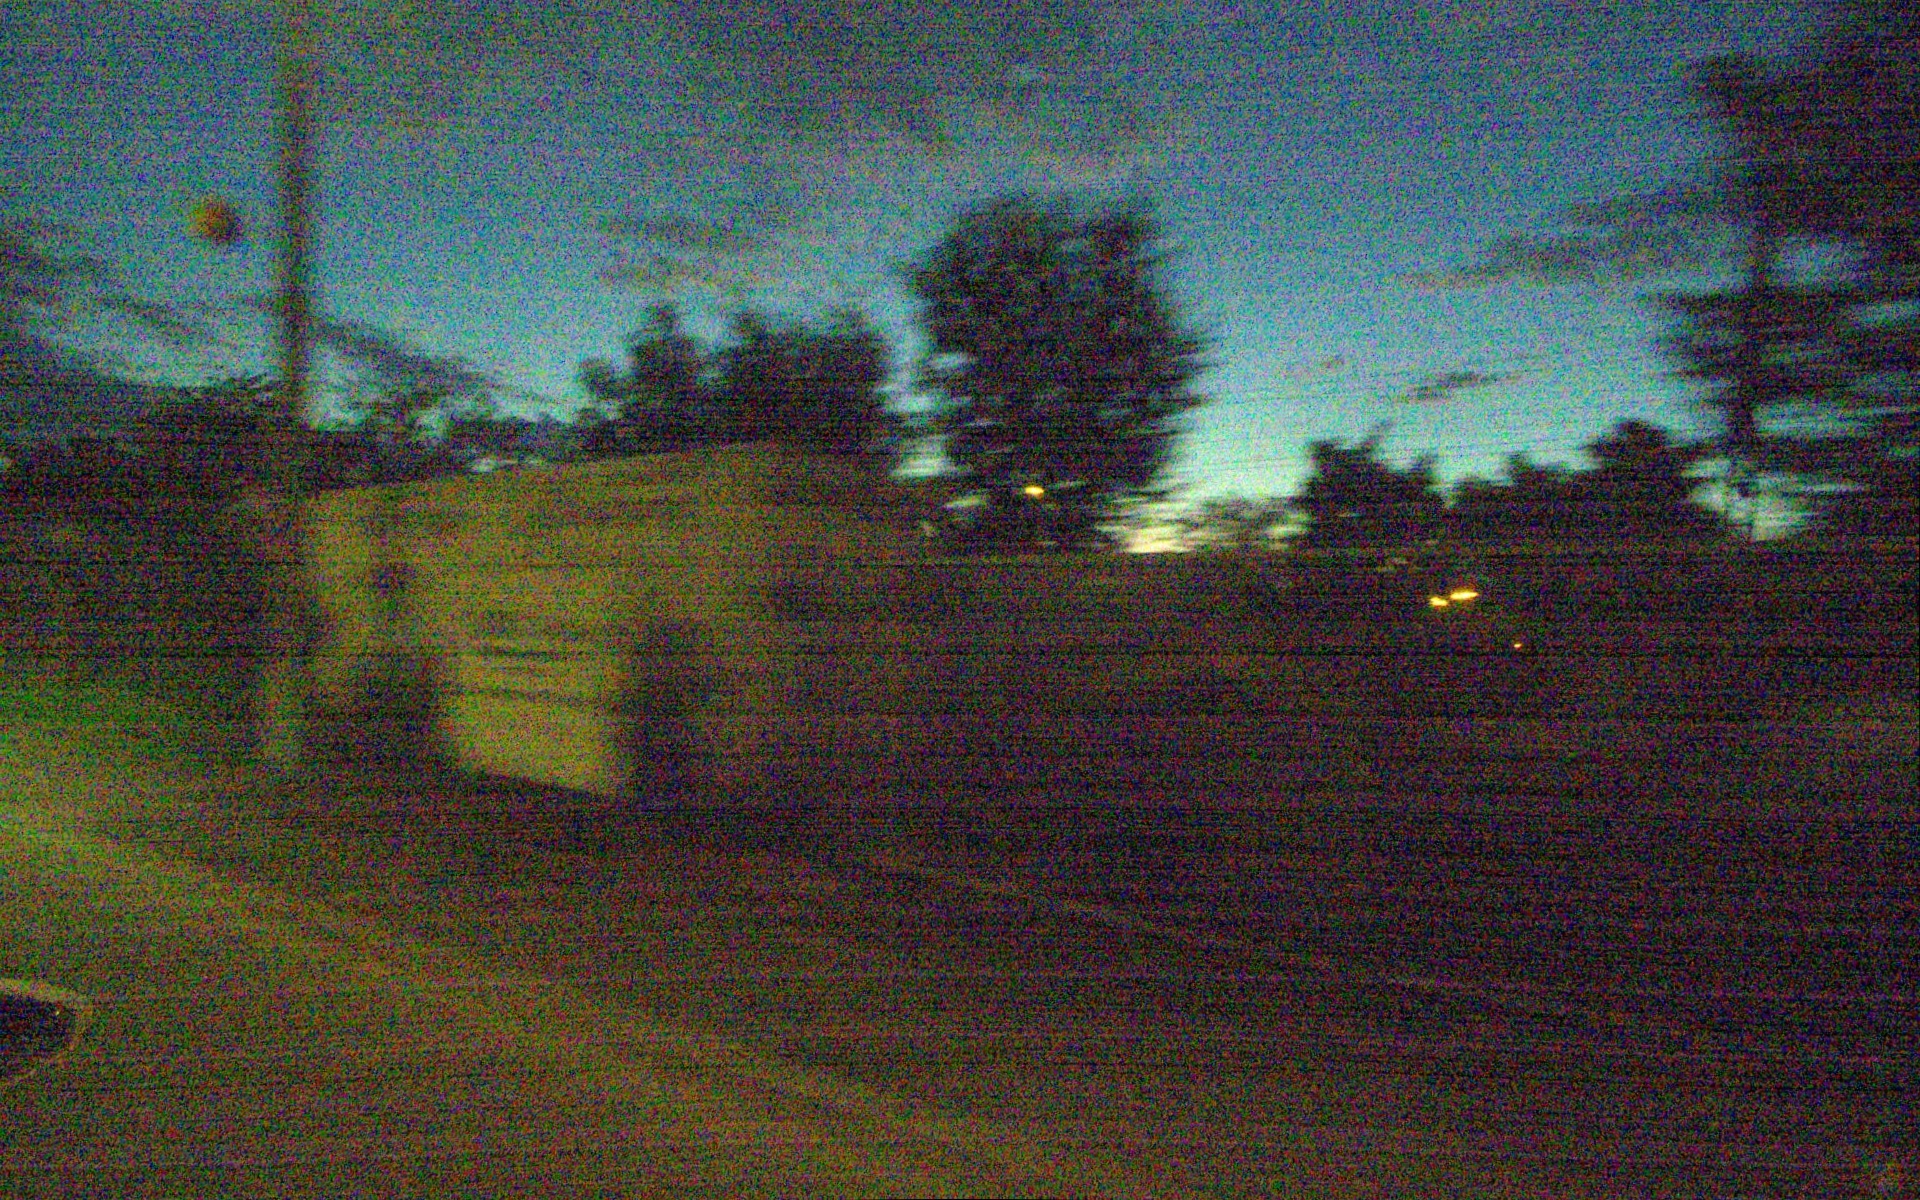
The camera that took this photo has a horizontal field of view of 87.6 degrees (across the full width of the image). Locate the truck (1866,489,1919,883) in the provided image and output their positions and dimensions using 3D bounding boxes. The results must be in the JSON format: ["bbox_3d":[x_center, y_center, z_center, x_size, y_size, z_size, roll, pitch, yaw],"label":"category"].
[{"bbox_3d":[9.348,0.549,4.768,7.217,2.453,2.178,0,-3,35],"label":"truck"}]

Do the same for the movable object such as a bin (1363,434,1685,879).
[{"bbox_3d":[3.500,0.337,6.510,1.589,2.413,1.682,1,-2,22],"label":"movable object such as a bin"}]

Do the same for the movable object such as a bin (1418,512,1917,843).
[{"bbox_3d":[6.943,0.707,10.324,3.809,2.759,2.225,0,-2,32],"label":"movable object such as a bin"}]
